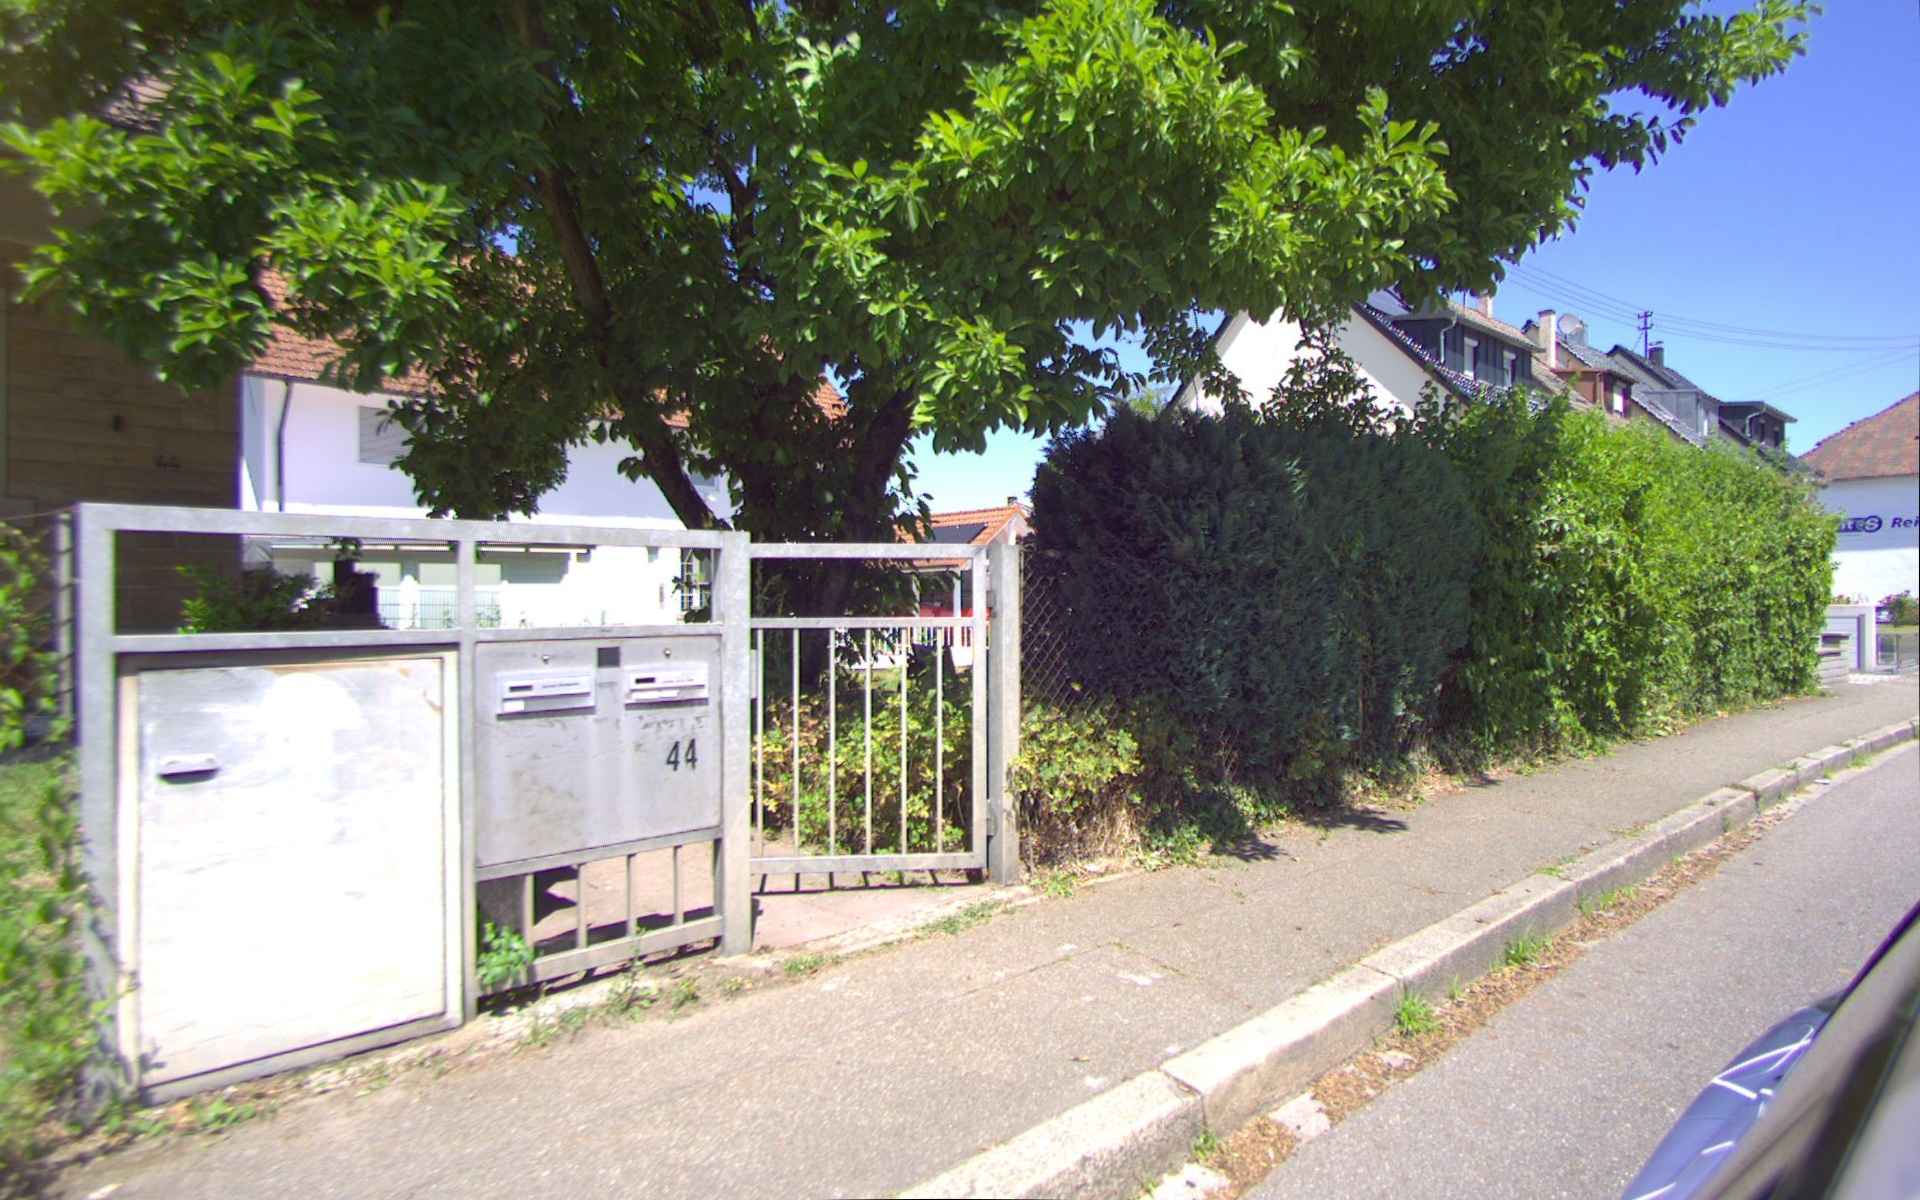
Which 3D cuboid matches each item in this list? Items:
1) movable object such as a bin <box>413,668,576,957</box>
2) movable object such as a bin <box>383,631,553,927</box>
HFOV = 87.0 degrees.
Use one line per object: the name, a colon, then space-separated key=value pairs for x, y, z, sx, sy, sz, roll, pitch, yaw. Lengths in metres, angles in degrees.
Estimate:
movable object such as a bin: x=-1.717 y=0.741 z=3.732 sx=0.455 sy=0.935 sz=0.400 roll=0 pitch=0 yaw=-40
movable object such as a bin: x=-1.990 y=0.678 z=4.097 sx=0.536 sy=1.077 sz=0.400 roll=0 pitch=0 yaw=-40
